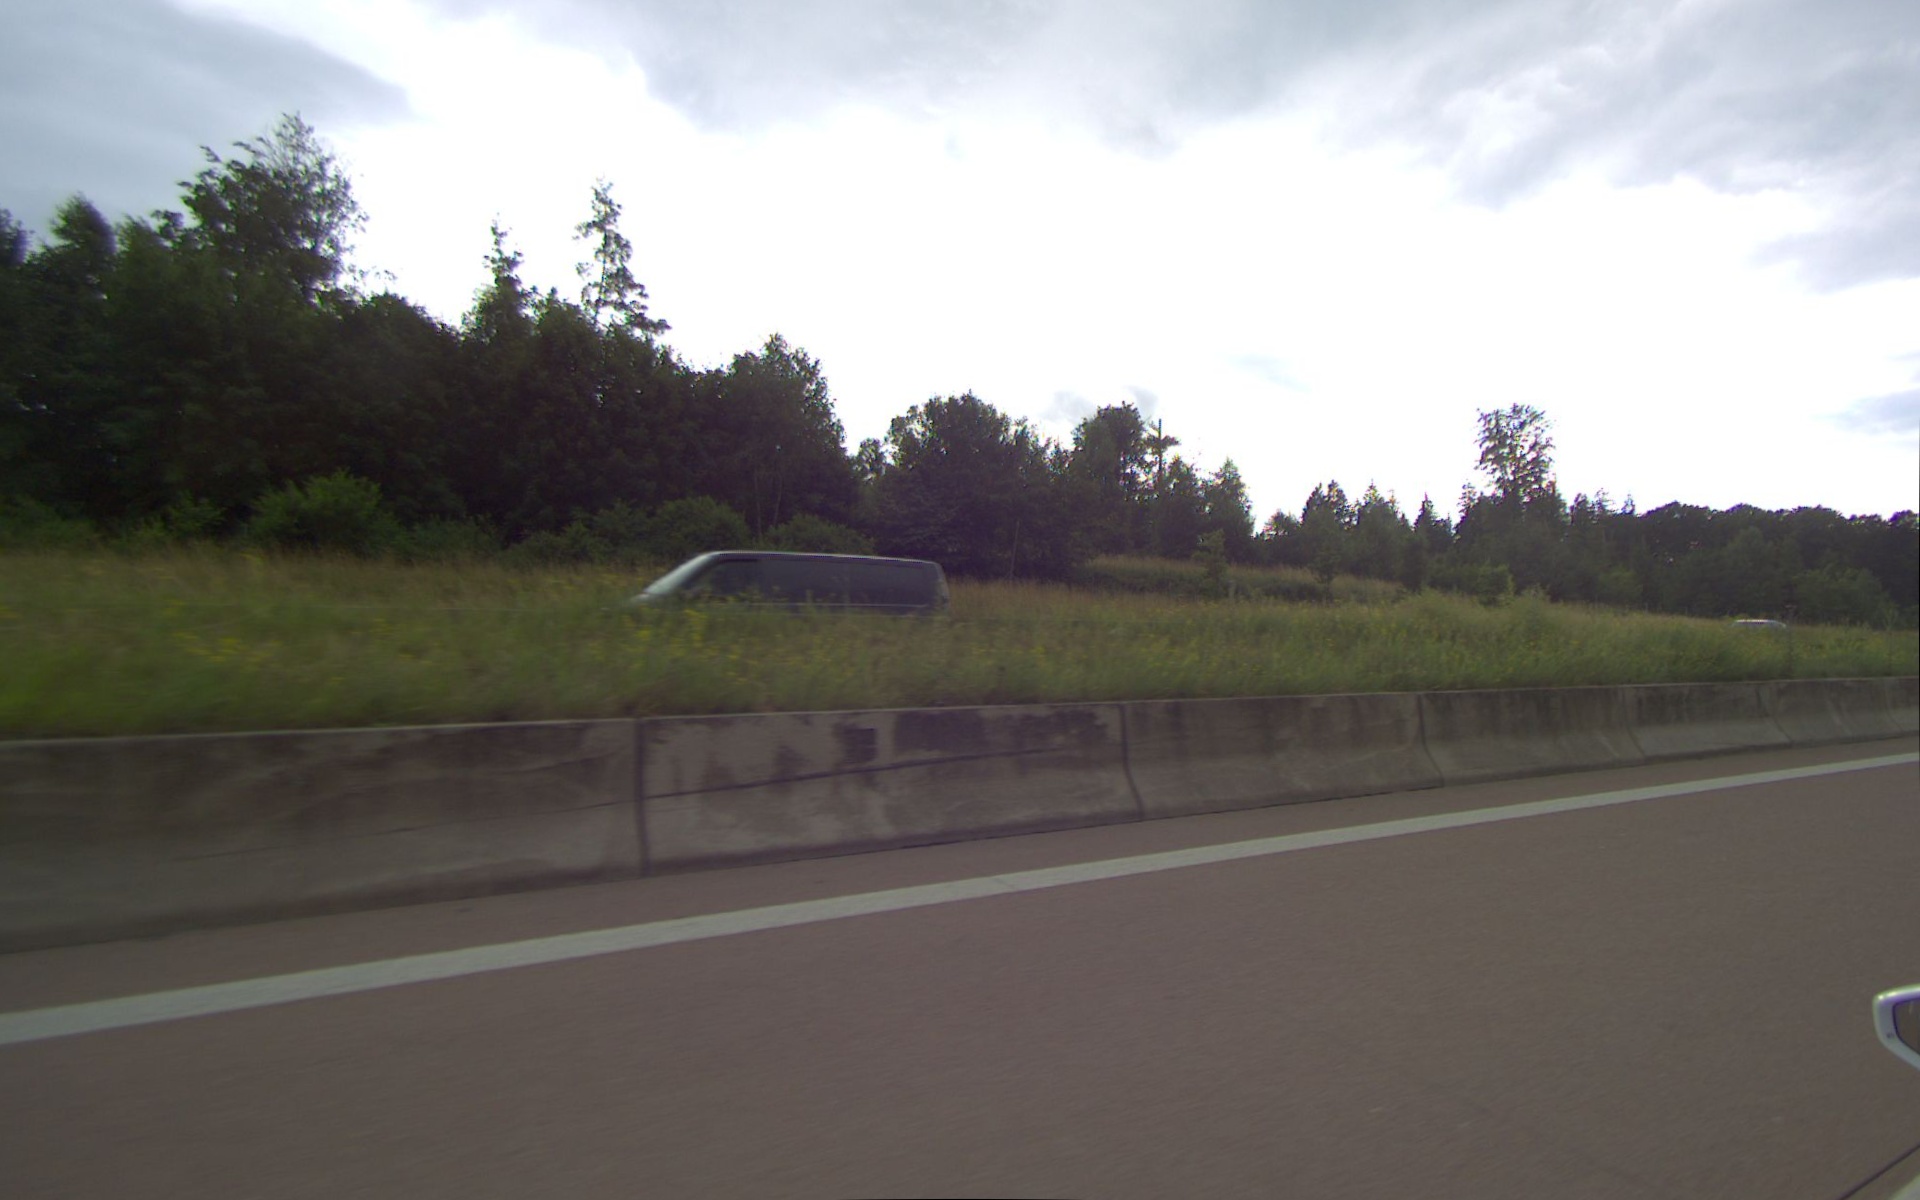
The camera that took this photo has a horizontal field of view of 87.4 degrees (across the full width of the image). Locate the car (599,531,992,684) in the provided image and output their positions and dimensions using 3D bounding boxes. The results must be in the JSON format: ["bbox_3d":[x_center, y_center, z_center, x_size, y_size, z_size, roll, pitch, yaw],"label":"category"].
[{"bbox_3d":[-2.248,0.191,14.320,5.165,1.841,1.866,3,-1,-31],"label":"car"}]

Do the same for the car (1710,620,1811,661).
[{"bbox_3d":[33.613,1.706,42.160,4.358,1.545,1.725,3,-1,-29],"label":"car"}]
